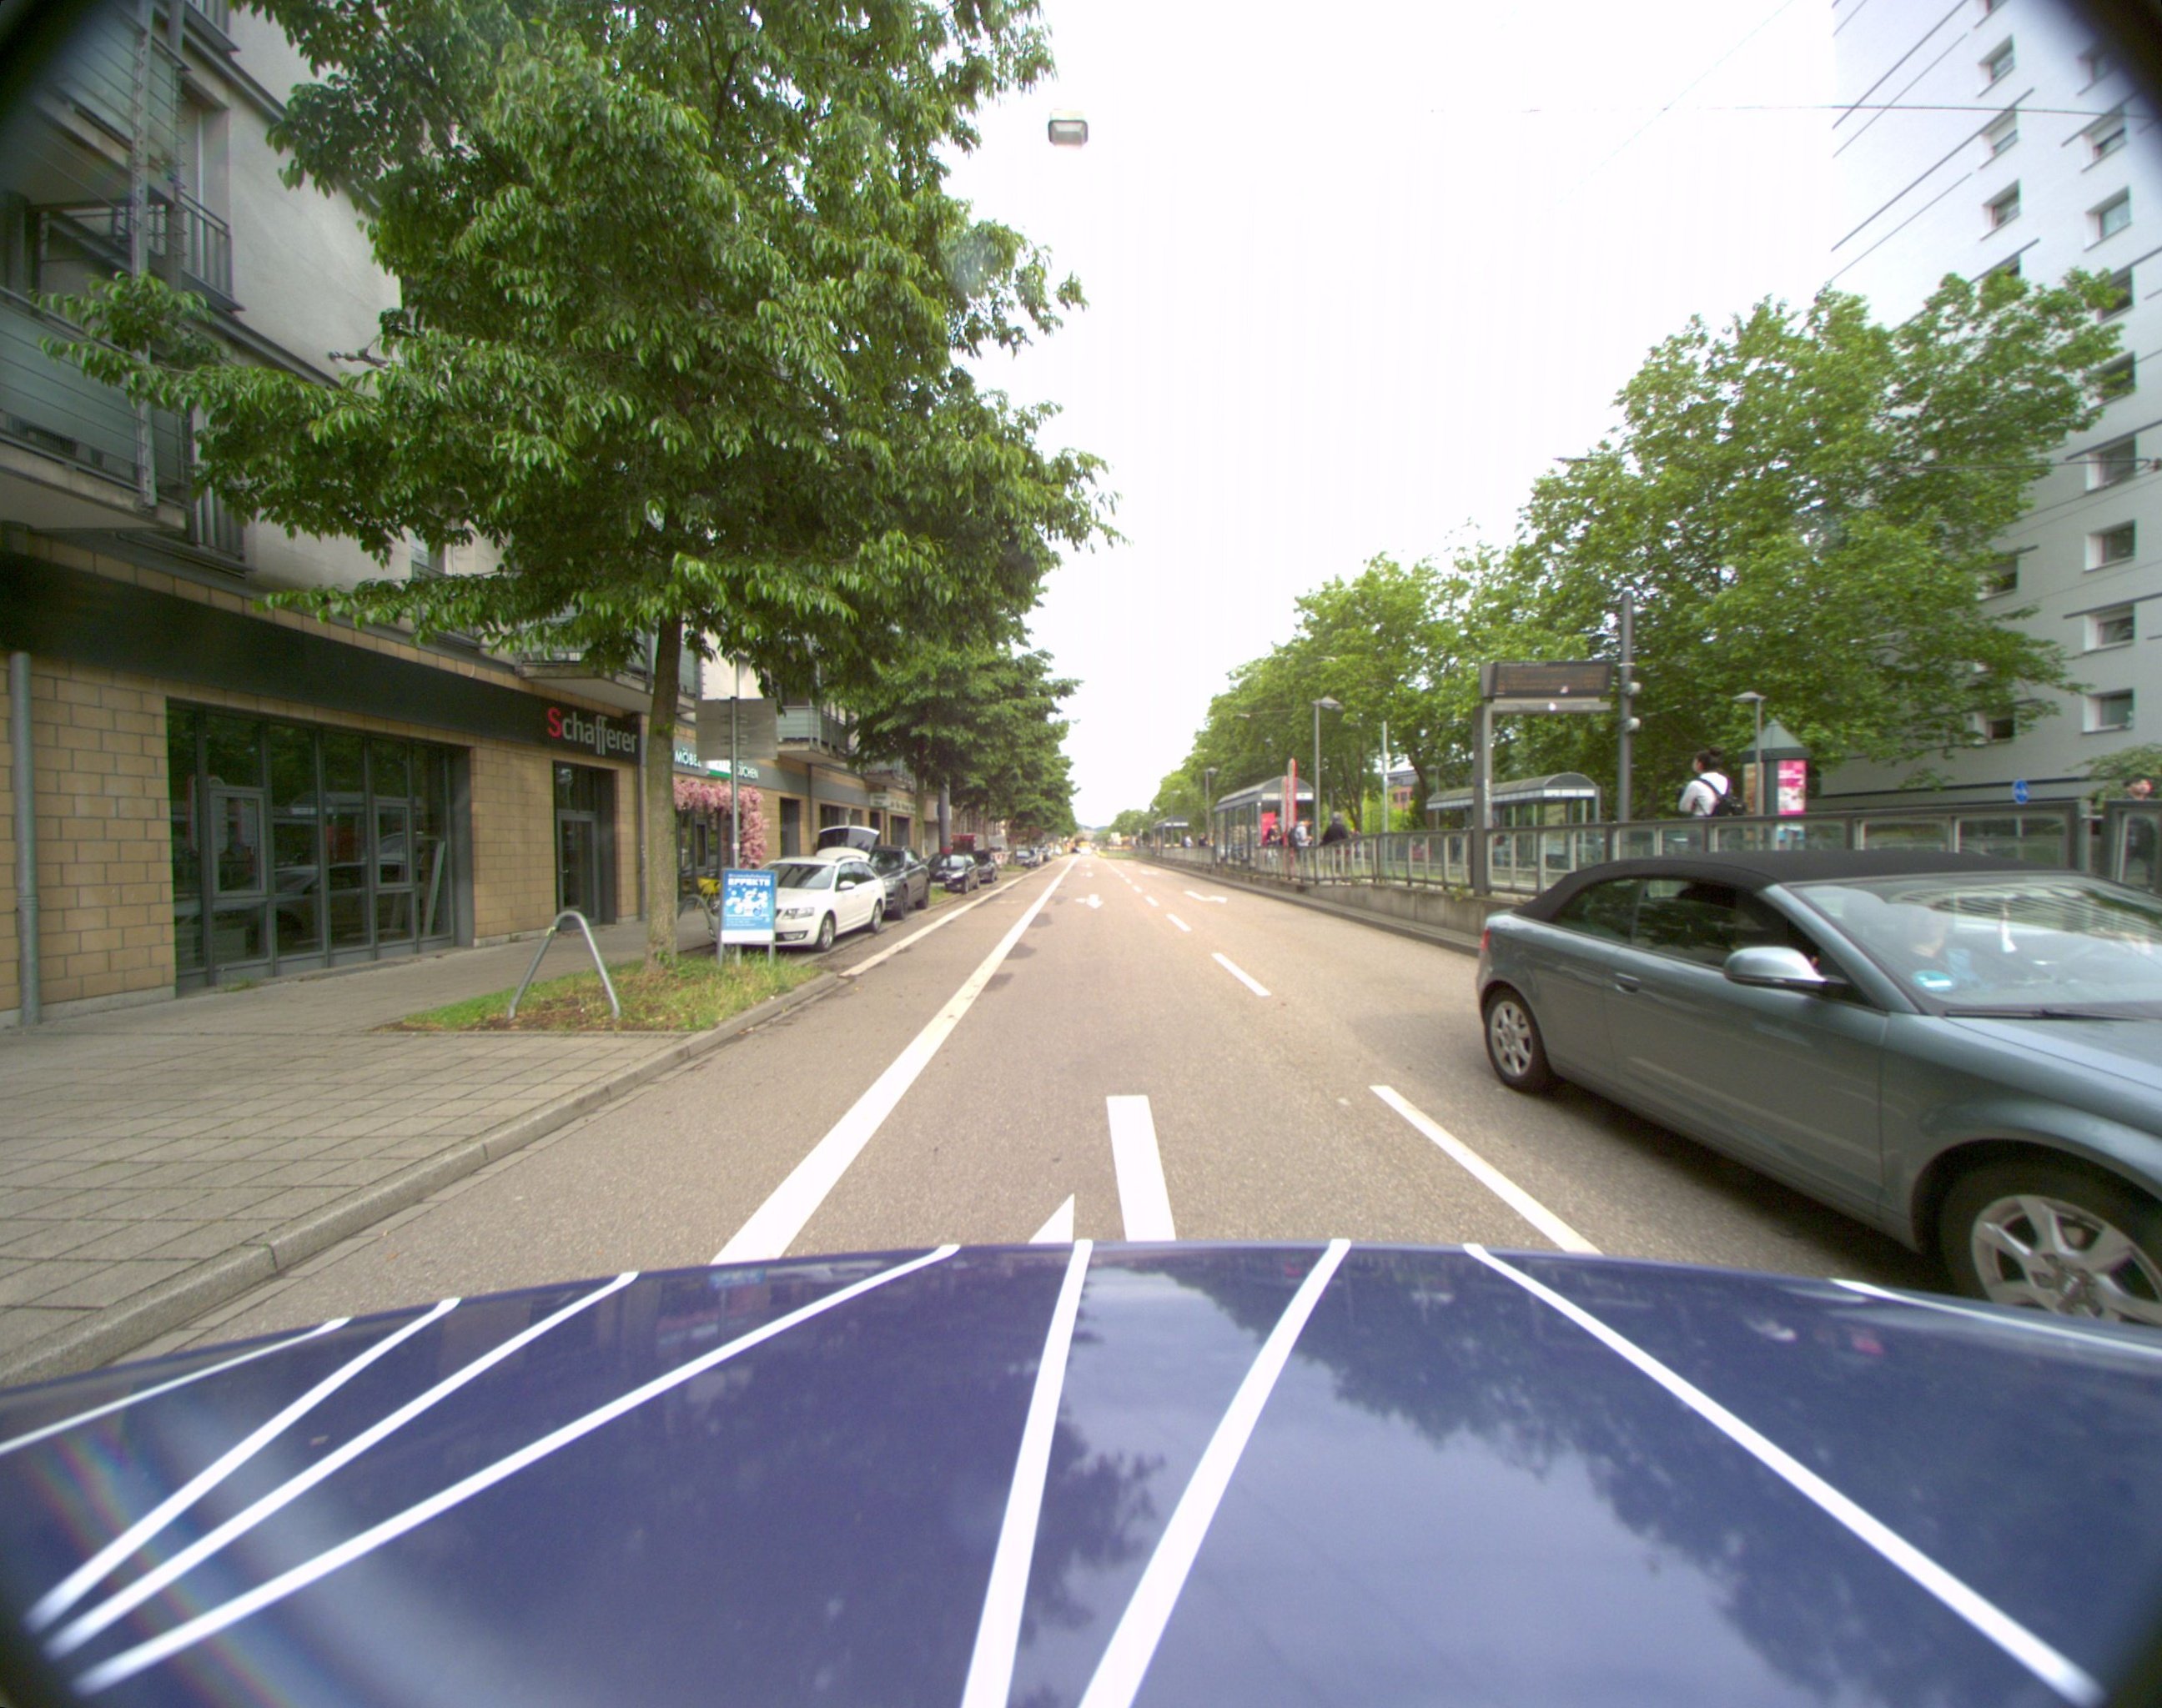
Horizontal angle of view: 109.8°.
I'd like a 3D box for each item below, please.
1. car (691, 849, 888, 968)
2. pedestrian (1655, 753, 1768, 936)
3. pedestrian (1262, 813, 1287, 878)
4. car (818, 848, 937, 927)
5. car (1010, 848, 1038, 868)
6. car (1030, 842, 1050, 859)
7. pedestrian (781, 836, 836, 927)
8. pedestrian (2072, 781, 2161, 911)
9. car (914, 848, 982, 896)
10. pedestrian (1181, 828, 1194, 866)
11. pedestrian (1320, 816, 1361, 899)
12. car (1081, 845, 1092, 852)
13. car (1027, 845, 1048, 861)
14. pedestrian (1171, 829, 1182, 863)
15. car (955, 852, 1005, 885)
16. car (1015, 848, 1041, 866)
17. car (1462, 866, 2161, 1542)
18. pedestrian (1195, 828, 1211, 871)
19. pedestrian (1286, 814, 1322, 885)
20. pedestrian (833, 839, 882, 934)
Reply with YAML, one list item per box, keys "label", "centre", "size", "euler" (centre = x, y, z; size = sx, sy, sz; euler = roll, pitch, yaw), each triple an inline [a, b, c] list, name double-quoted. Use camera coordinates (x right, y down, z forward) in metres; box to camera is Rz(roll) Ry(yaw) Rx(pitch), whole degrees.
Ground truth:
- label: "car"
  centre: [-4.736, 0.776, 13.035]
  size: [1.730, 1.652, 4.103]
  euler: [1, 1, 1]
- label: "pedestrian"
  centre: [6.303, -0.094, 7.617]
  size: [0.662, 1.741, 0.534]
  euler: [-2, 1, 1]
- label: "pedestrian"
  centre: [6.213, -0.265, 24.428]
  size: [0.585, 2.039, 0.821]
  euler: [-2, 1, 4]
- label: "car"
  centre: [-4.702, 0.698, 18.126]
  size: [1.730, 1.652, 3.942]
  euler: [1, 1, 1]
- label: "car"
  centre: [-4.192, 0.289, 56.018]
  size: [1.730, 1.375, 3.815]
  euler: [1, 1, 1]
- label: "car"
  centre: [-4.225, -0.345, 78.514]
  size: [1.730, 1.675, 3.815]
  euler: [1, 1, 1]
- label: "pedestrian"
  centre: [-5.616, 0.552, 15.693]
  size: [0.745, 1.795, 0.839]
  euler: [-2, 1, 0]
- label: "pedestrian"
  centre: [14.703, -0.114, 10.758]
  size: [0.622, 1.779, 0.534]
  euler: [-2, 1, 1]
- label: "car"
  centre: [-4.672, 0.571, 27.156]
  size: [1.684, 1.536, 3.942]
  euler: [1, 1, 1]
- label: "pedestrian"
  centre: [5.834, -0.393, 41.674]
  size: [0.585, 2.039, 0.821]
  euler: [-2, 1, 4]
- label: "pedestrian"
  centre: [5.705, 0.069, 16.693]
  size: [0.661, 1.781, 0.535]
  euler: [-1, 2, 40]
- label: "car"
  centre: [1.024, -1.068, 140.212]
  size: [1.865, 1.339, 3.815]
  euler: [1, 1, 1]
- label: "car"
  centre: [-4.163, -0.117, 72.730]
  size: [1.730, 1.375, 3.815]
  euler: [1, 1, 1]
- label: "pedestrian"
  centre: [5.850, -0.466, 46.545]
  size: [0.585, 2.039, 0.821]
  euler: [-2, 1, 4]
- label: "car"
  centre: [-4.592, 0.620, 34.896]
  size: [1.730, 1.375, 3.815]
  euler: [1, 1, 1]
- label: "car"
  centre: [-4.270, 0.209, 61.500]
  size: [1.730, 1.375, 3.815]
  euler: [1, 1, 1]
- label: "car"
  centre: [3.255, 0.825, 2.870]
  size: [1.637, 1.367, 4.013]
  euler: [-2, 1, 1]
- label: "pedestrian"
  centre: [5.881, -0.214, 36.636]
  size: [0.585, 2.039, 0.821]
  euler: [-2, 1, 4]
- label: "pedestrian"
  centre: [5.754, -0.117, 19.634]
  size: [0.683, 1.781, 0.821]
  euler: [-2, 1, 4]
- label: "pedestrian"
  centre: [-4.623, 0.666, 15.724]
  size: [0.652, 1.922, 0.643]
  euler: [-2, 1, 16]
